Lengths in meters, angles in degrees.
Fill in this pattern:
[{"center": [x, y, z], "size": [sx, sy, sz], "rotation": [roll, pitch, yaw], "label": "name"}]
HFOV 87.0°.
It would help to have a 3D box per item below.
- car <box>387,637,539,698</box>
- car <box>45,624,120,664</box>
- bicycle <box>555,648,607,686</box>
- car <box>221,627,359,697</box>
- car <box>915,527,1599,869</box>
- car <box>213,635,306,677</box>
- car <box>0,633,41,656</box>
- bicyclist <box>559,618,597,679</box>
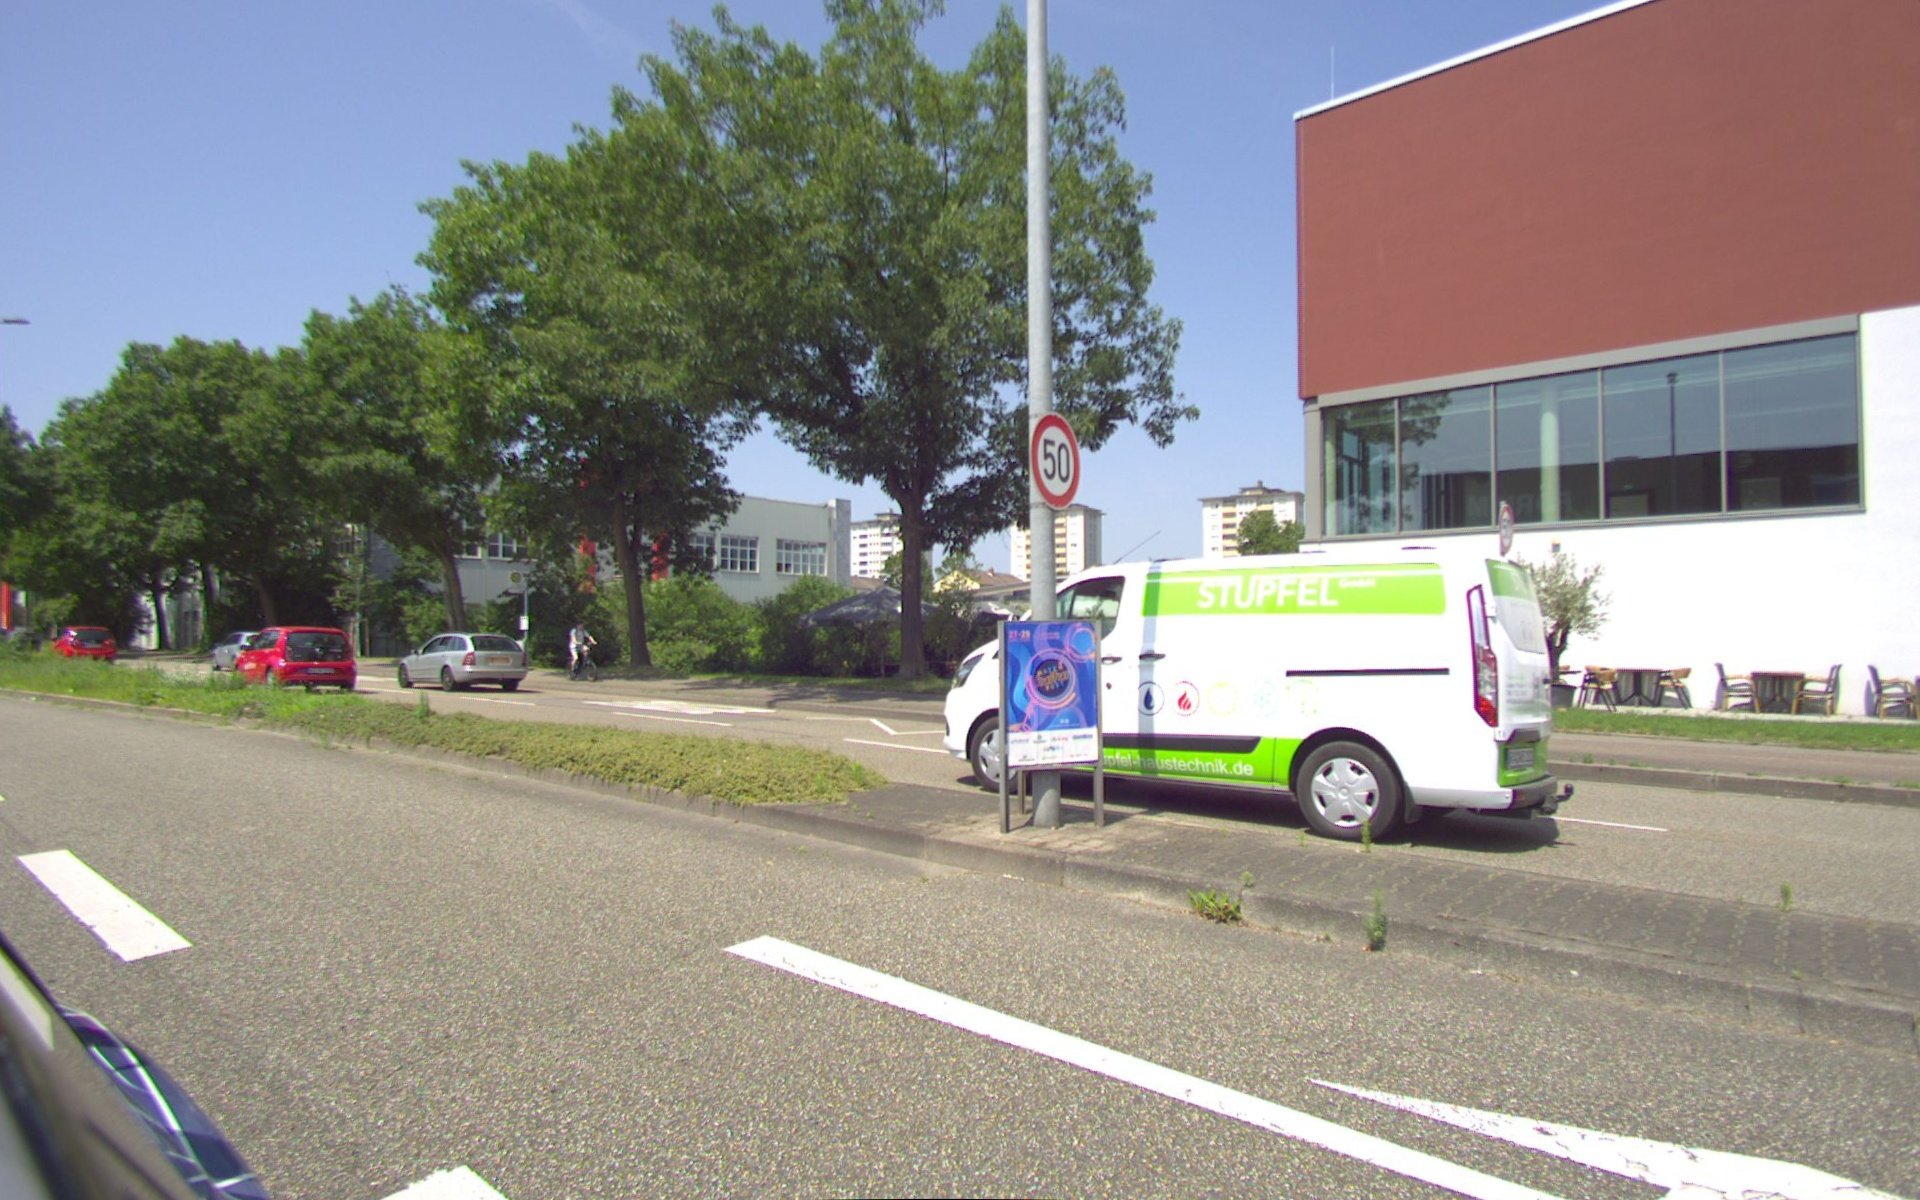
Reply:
[{"center": [-12.571, 1.668, 25.489], "size": [4.356, 1.415, 1.759], "rotation": [-2, -5, 40], "label": "car"}, {"center": [-36.936, 1.856, 42.589], "size": [4.150, 1.582, 1.731], "rotation": [-2, -5, 41], "label": "car"}, {"center": [-10.401, 1.829, 27.748], "size": [1.659, 0.976, 0.611], "rotation": [-2, -3, 42], "label": "bicycle"}, {"center": [-15.183, 1.377, 22.894], "size": [3.605, 1.452, 1.564], "rotation": [-2, -4, 39], "label": "car"}, {"center": [2.116, 0.663, 8.161], "size": [4.904, 1.960, 1.973], "rotation": [-2, -4, 40], "label": "car"}, {"center": [-25.442, 2.018, 36.708], "size": [4.130, 1.462, 1.731], "rotation": [-2, -5, 41], "label": "car"}, {"center": [-67.925, 3.224, 73.101], "size": [4.210, 1.616, 1.698], "rotation": [-2, -5, 41], "label": "car"}, {"center": [-10.510, 1.316, 27.862], "size": [0.923, 1.643, 0.601], "rotation": [-2, -3, 41], "label": "bicyclist"}]
